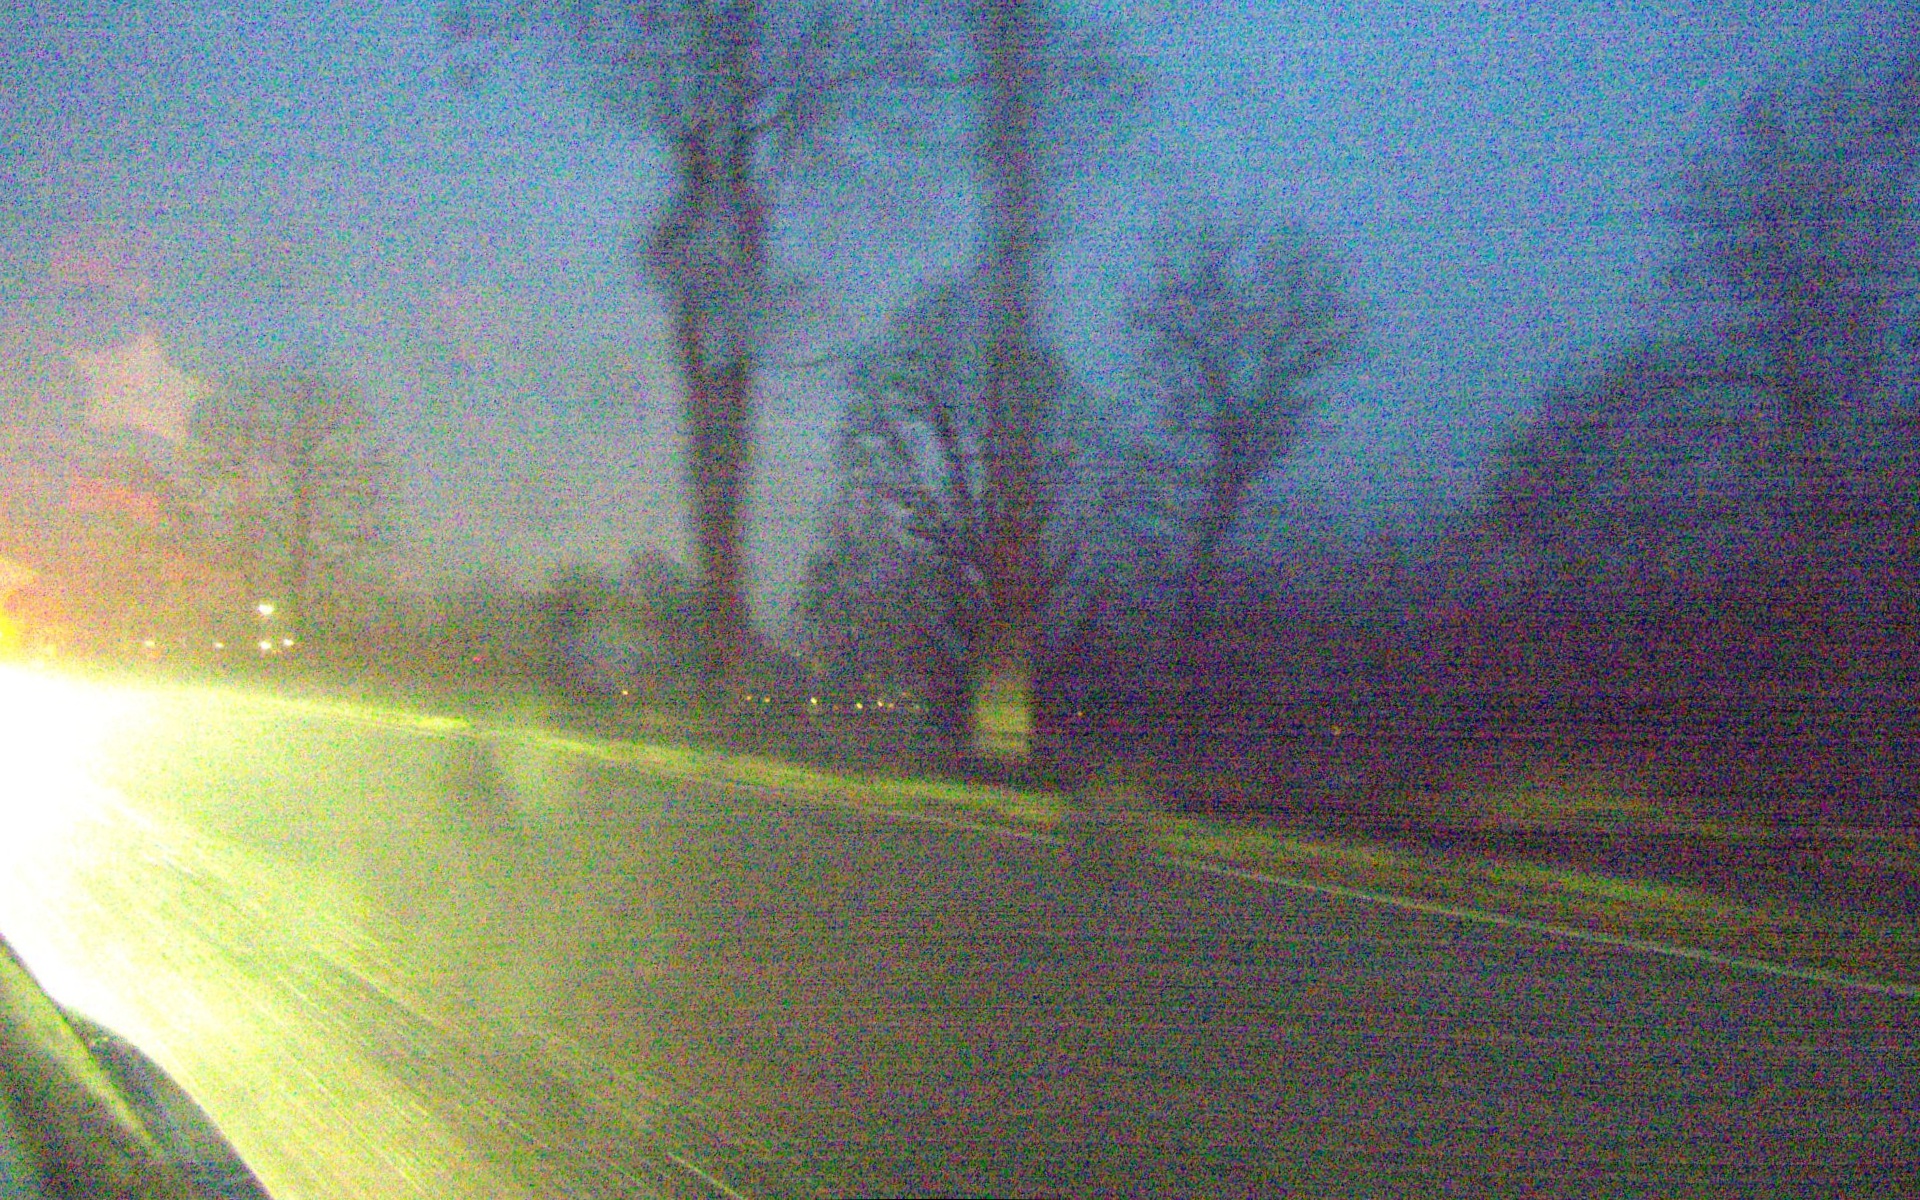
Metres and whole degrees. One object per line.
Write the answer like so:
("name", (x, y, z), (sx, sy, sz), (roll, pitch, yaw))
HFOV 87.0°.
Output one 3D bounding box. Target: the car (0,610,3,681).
("car", (-25.432, 1.141, 25.055), (3.952, 1.733, 1.826), (-2, -2, 36))
